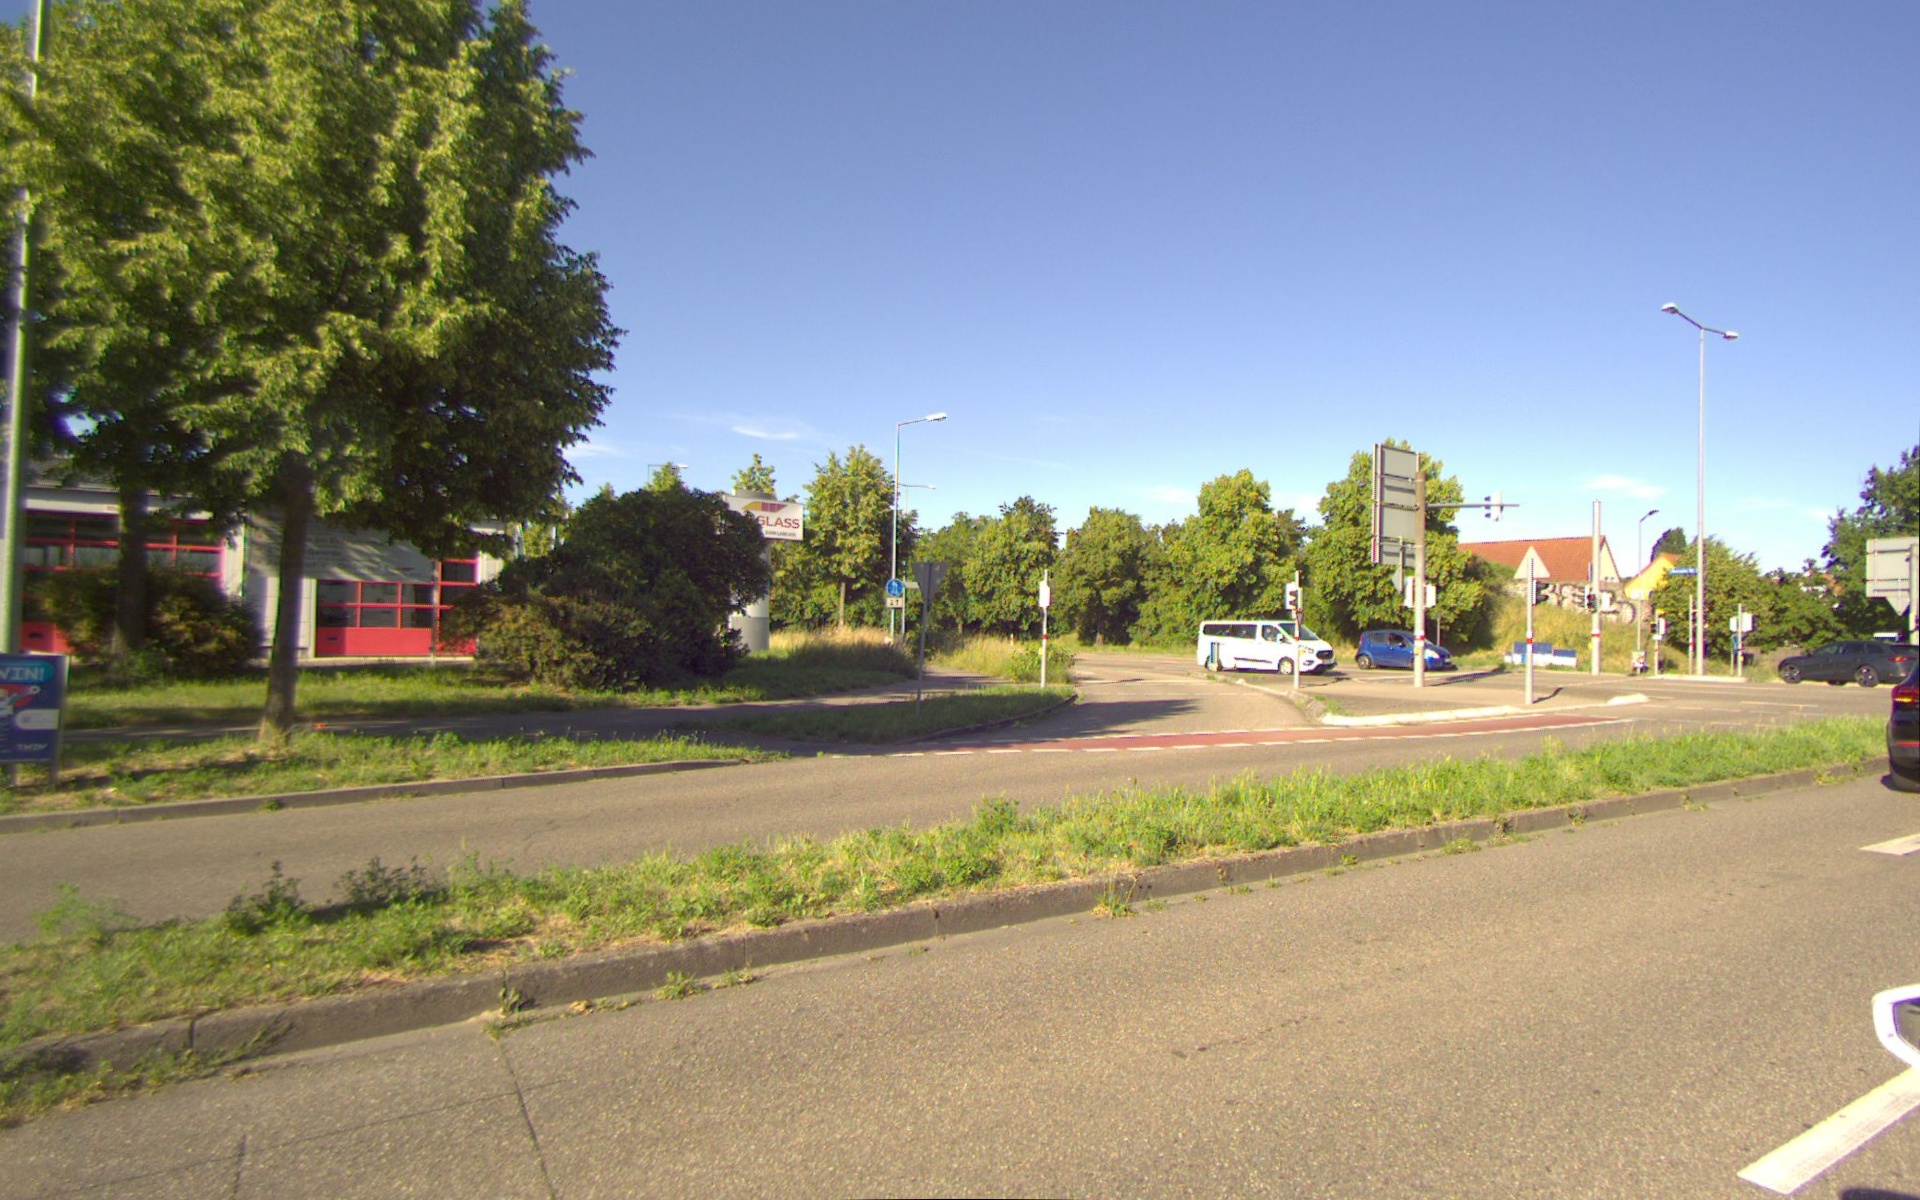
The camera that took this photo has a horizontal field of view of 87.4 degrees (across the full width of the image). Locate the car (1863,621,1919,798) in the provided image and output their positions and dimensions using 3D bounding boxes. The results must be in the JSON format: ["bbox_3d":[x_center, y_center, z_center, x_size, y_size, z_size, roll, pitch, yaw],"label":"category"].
[{"bbox_3d":[10.894,1.073,9.941,3.953,1.649,1.818,2,-2,-30],"label":"car"}]

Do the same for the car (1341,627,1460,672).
[{"bbox_3d":[17.580,1.923,40.256,1.875,1.666,3.999,0,-1,-36],"label":"car"}]

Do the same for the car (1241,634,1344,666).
[{"bbox_3d":[14.613,2.180,44.348,1.875,1.291,3.999,0,-1,-36],"label":"car"}]

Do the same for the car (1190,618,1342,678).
[{"bbox_3d":[11.191,1.699,37.068,2.028,2.040,5.223,0,-1,-36],"label":"car"}]

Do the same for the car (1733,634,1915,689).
[{"bbox_3d":[28.199,1.972,33.012,2.009,1.637,4.415,1,-2,-5],"label":"car"}]
